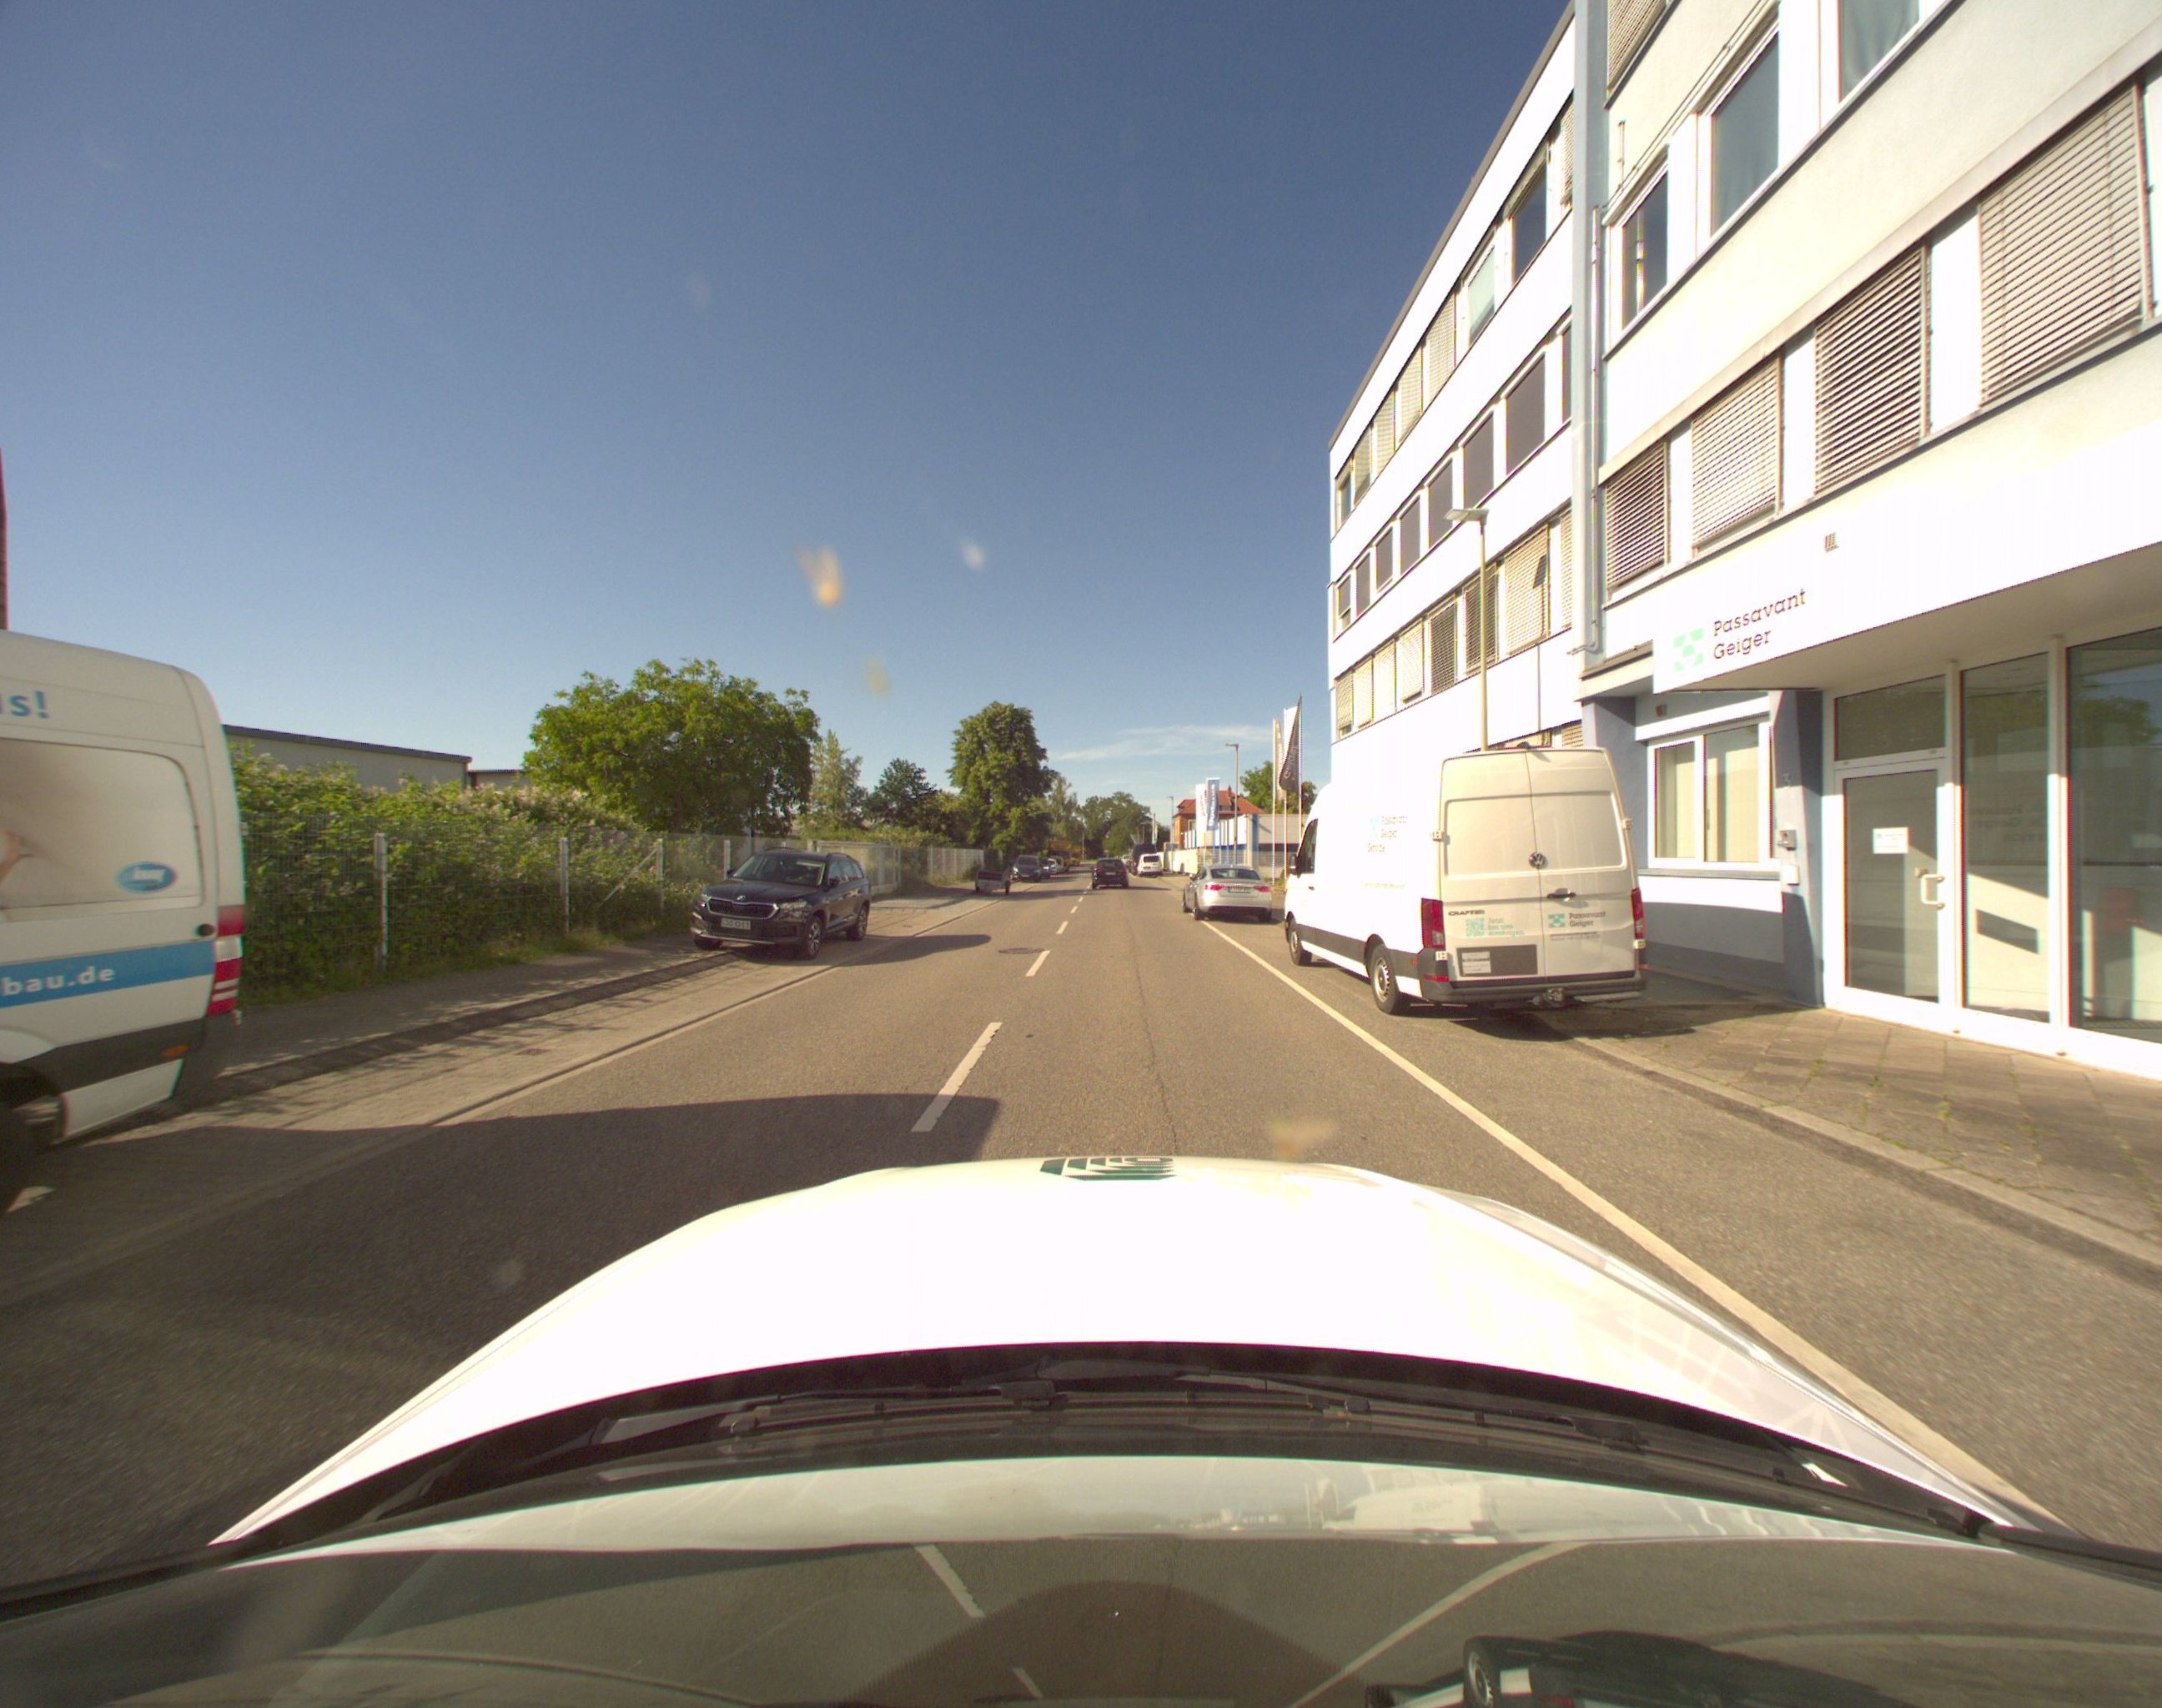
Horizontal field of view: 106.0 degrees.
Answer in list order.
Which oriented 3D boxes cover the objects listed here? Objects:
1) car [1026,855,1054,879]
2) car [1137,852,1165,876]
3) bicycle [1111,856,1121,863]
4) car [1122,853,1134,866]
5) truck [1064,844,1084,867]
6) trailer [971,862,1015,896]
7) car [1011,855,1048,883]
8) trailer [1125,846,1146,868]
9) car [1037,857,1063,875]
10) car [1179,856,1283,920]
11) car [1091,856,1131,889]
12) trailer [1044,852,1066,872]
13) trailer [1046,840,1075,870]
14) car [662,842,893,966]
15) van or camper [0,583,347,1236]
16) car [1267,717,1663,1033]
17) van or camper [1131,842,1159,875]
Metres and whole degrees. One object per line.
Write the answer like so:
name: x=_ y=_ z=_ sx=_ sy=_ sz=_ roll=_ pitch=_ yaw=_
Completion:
car: x=-3.234 y=1.004 z=64.682 sx=1.902 sy=1.662 sz=4.462 roll=4 pitch=0 yaw=0
car: x=5.587 y=0.818 z=65.645 sx=1.879 sy=1.797 sz=5.105 roll=2 pitch=-1 yaw=1
bicycle: x=6.669 y=1.059 z=155.015 sx=0.809 sy=1.268 sz=2.235 roll=2 pitch=-1 yaw=-33
car: x=7.628 y=0.890 z=132.161 sx=1.867 sy=2.014 sz=5.163 roll=2 pitch=-1 yaw=2
truck: x=-1.133 y=0.142 z=138.501 sx=2.621 sy=3.504 sz=8.662 roll=6 pitch=1 yaw=2
trailer: x=-3.825 y=1.080 z=35.800 sx=1.471 sy=1.354 sz=3.080 roll=2 pitch=0 yaw=2
car: x=-3.355 y=0.948 z=53.853 sx=1.784 sy=1.730 sz=4.807 roll=2 pitch=0 yaw=4
trailer: x=6.854 y=0.370 z=102.111 sx=2.450 sy=2.673 sz=5.704 roll=0 pitch=0 yaw=2
car: x=-2.958 y=1.129 z=78.057 sx=1.900 sy=1.593 sz=5.028 roll=4 pitch=0 yaw=3
car: x=3.754 y=0.810 z=21.307 sx=1.887 sy=1.405 sz=5.126 roll=2 pitch=-1 yaw=2
car: x=1.493 y=0.857 z=39.849 sx=1.840 sy=1.530 sz=4.003 roll=0 pitch=0 yaw=3
trailer: x=-2.650 y=0.828 z=83.983 sx=1.986 sy=1.941 sz=4.417 roll=0 pitch=0 yaw=2
trailer: x=-2.313 y=0.139 z=94.897 sx=2.981 sy=3.443 sz=8.162 roll=0 pitch=0 yaw=1
car: x=-5.060 y=0.727 z=14.544 sx=2.023 sy=1.694 sz=5.107 roll=4 pitch=0 yaw=1
van or camper: x=-5.492 y=0.177 z=1.739 sx=1.957 sy=2.685 sz=5.954 roll=5 pitch=0 yaw=4
car: x=3.922 y=0.134 z=9.872 sx=1.986 sy=2.597 sz=6.052 roll=-2 pitch=1 yaw=1
van or camper: x=5.612 y=0.410 z=72.093 sx=2.132 sy=2.759 sz=6.164 roll=2 pitch=-1 yaw=2
